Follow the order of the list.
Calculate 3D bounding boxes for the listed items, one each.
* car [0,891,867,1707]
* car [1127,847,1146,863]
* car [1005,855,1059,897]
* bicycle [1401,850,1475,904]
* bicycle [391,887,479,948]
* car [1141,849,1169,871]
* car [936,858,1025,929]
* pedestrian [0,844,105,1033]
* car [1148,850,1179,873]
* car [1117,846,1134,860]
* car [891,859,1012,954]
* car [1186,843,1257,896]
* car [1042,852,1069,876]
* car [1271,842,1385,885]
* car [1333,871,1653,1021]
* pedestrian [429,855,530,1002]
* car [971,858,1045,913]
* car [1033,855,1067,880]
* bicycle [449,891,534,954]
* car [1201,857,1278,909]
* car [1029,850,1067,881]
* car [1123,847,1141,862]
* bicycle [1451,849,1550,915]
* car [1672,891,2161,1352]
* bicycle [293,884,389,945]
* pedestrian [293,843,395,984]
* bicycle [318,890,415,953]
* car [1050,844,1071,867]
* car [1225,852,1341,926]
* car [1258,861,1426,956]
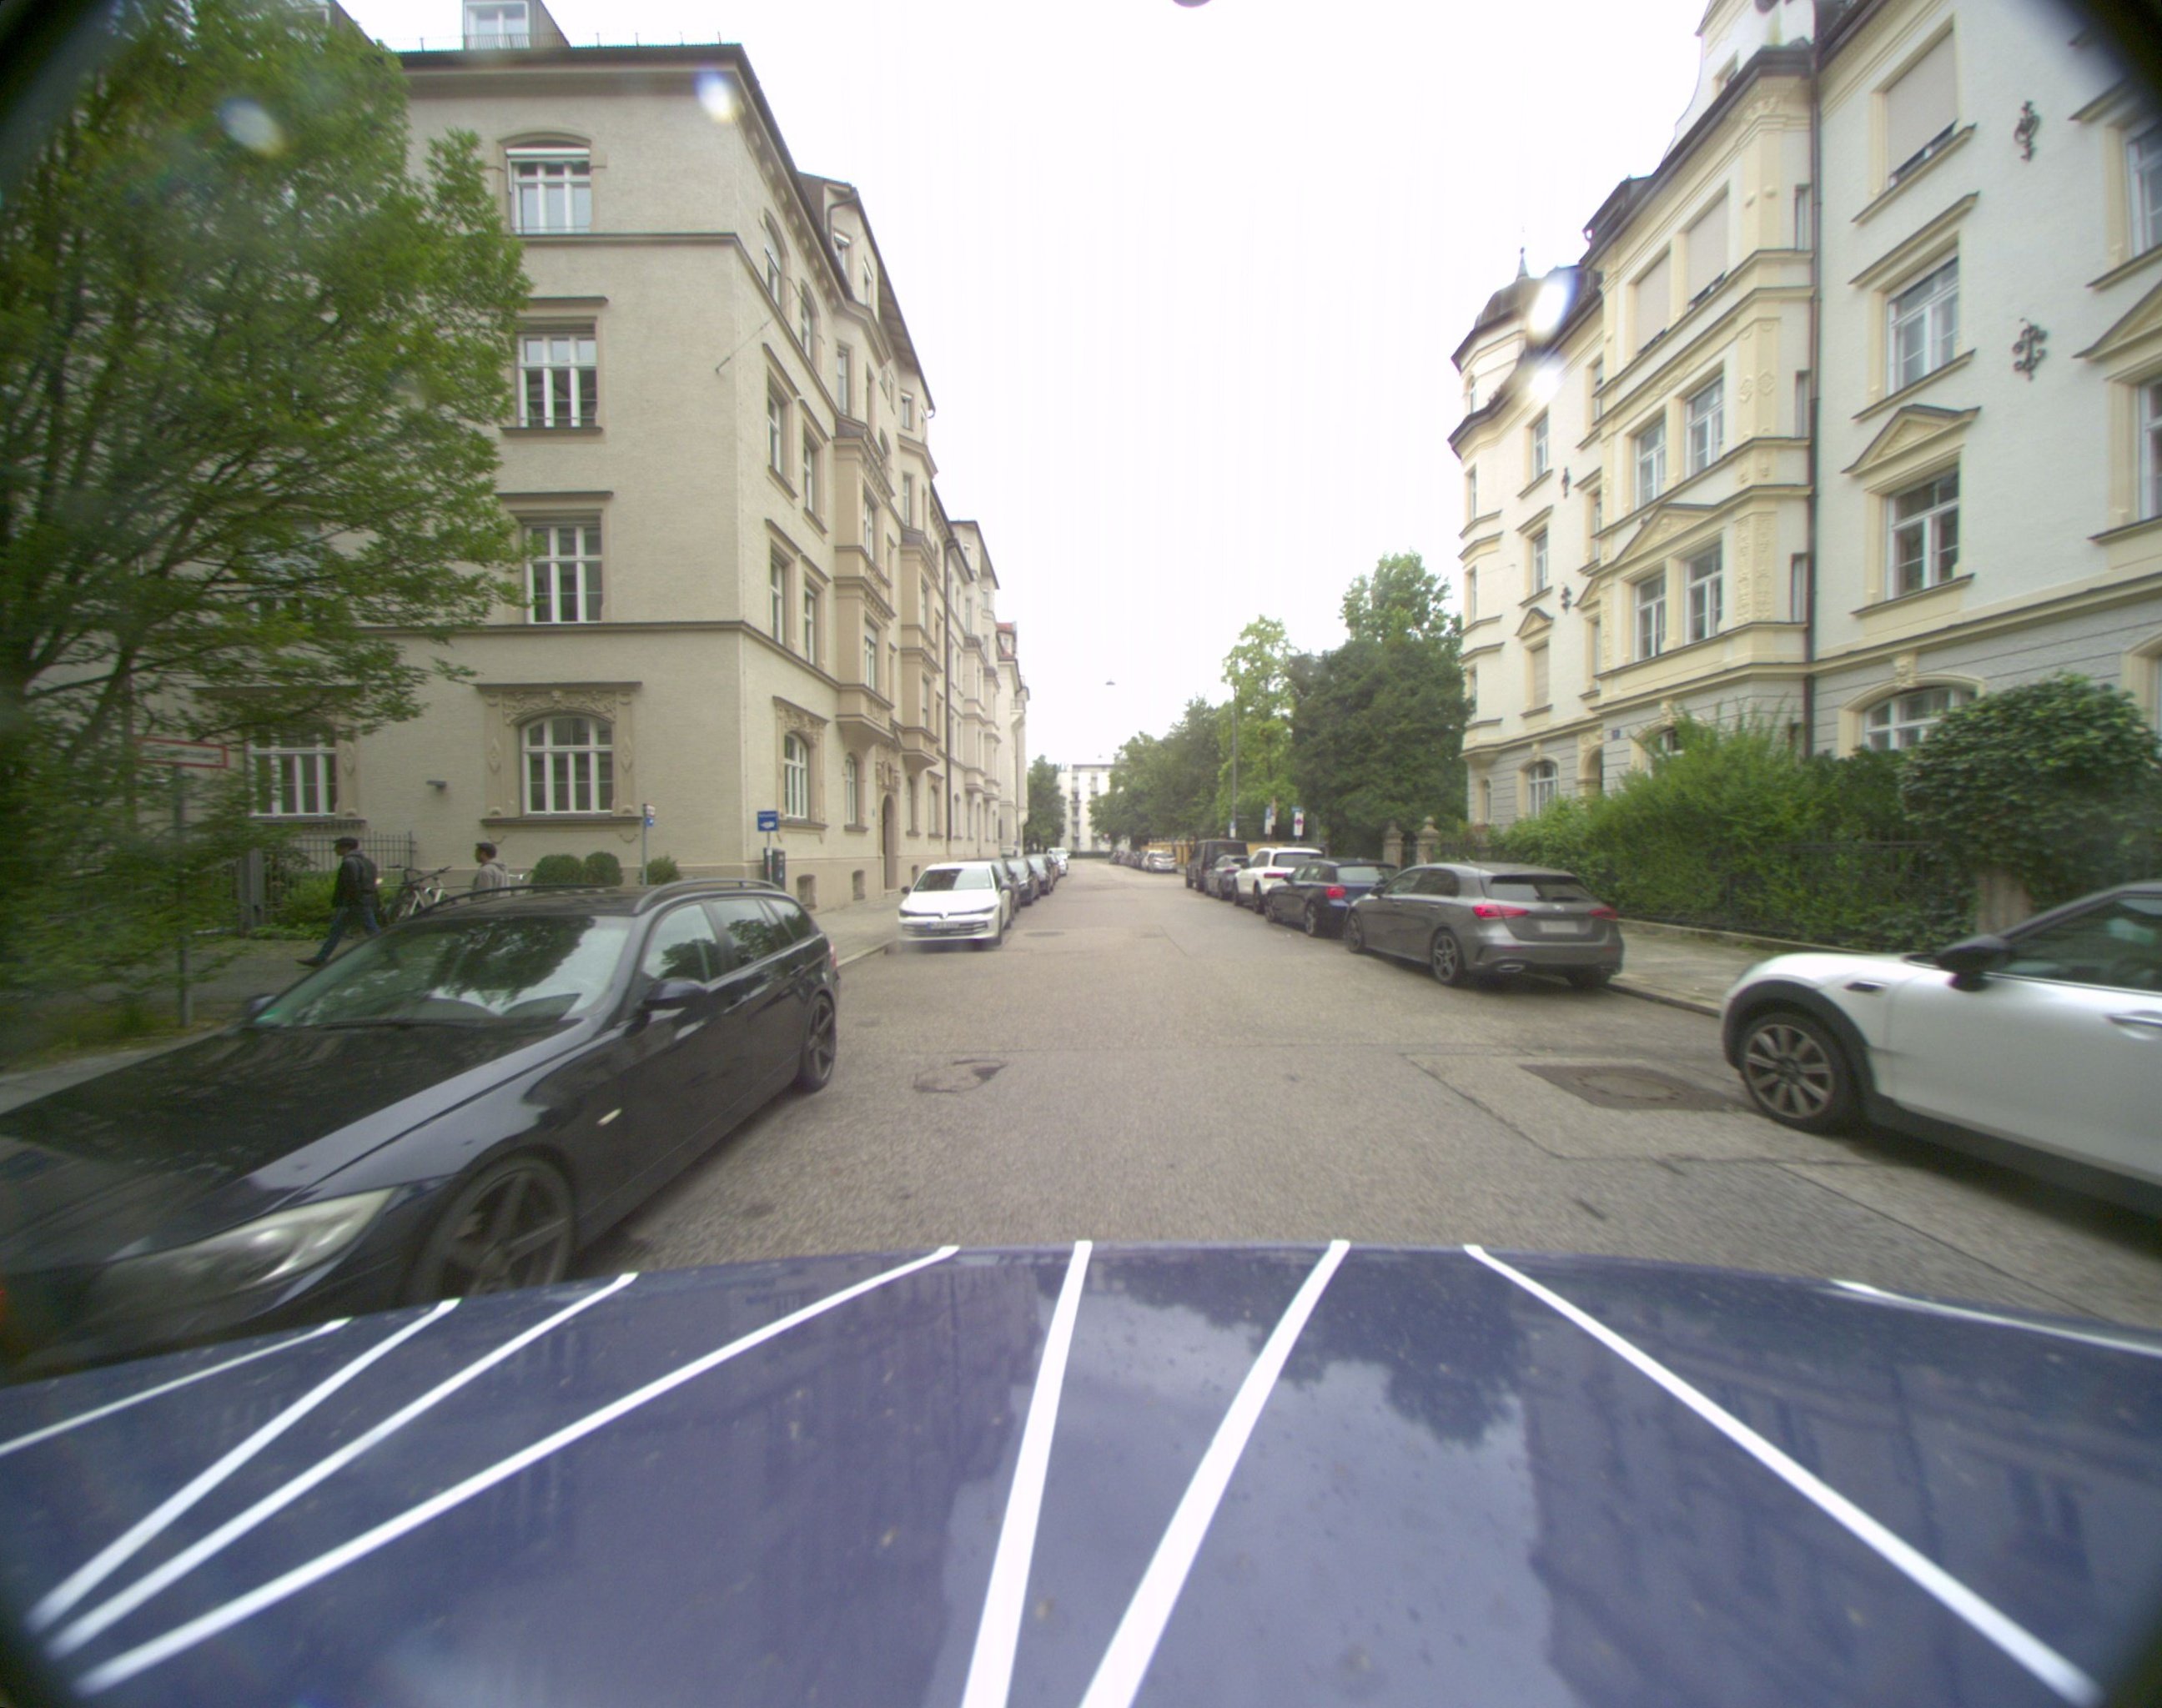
[{"bbox_3d":[-2.530,1.030,3.631,1.715,1.443,4.224,-1,0,1],"label":"car"},{"bbox_3d":[5.629,0.109,77.276,1.653,1.552,3.929,1,1,-1],"label":"car"},{"bbox_3d":[-1.816,0.792,29.261,1.645,1.409,4.000,-2,1,2],"label":"car"},{"bbox_3d":[8.871,0.527,19.001,0.698,1.253,2.530,1,1,2],"label":"bicycle"},{"bbox_3d":[-10.756,1.038,12.685,0.453,0.903,1.130,0,2,3],"label":"bicycle"},{"bbox_3d":[5.577,0.428,57.842,1.705,1.552,3.929,1,1,-1],"label":"car"},{"bbox_3d":[-2.449,0.919,19.392,1.796,1.489,4.081,-3,0,-2],"label":"car"},{"bbox_3d":[-10.438,0.792,7.420,0.884,1.759,0.672,-1,1,0],"label":"pedestrian"},{"bbox_3d":[5.695,0.508,52.833,1.705,1.484,3.955,1,1,-1],"label":"car"},{"bbox_3d":[5.079,-0.137,86.331,1.653,1.552,3.929,1,1,-1],"label":"car"},{"bbox_3d":[-2.314,0.876,14.526,1.667,1.499,4.064,-1,0,-1],"label":"car"},{"bbox_3d":[5.361,0.529,29.638,1.917,1.876,4.816,0,1,1],"label":"car"},{"bbox_3d":[-1.671,0.624,50.173,1.715,1.462,4.084,-2,1,-2],"label":"car"},{"bbox_3d":[11.177,0.417,34.578,4.520,1.847,2.053,0,1,-6],"label":"car"},{"bbox_3d":[4.881,0.986,9.815,1.739,1.357,4.191,1,1,-2],"label":"car"},{"bbox_3d":[-7.207,0.862,9.152,0.855,1.647,0.865,1,-2,-33],"label":"pedestrian"},{"bbox_3d":[-2.216,0.918,24.035,1.746,1.390,4.021,-3,2,2],"label":"car"},{"bbox_3d":[-1.824,0.776,45.775,1.715,1.382,4.000,-2,1,1],"label":"car"},{"bbox_3d":[-9.641,1.096,12.460,0.453,0.903,1.130,0,2,3],"label":"bicycle"},{"bbox_3d":[5.099,0.880,24.915,1.647,1.422,3.918,2,1,0],"label":"car"},{"bbox_3d":[-1.747,0.581,41.073,1.747,1.507,3.957,-1,1,1],"label":"car"},{"bbox_3d":[5.478,0.040,81.872,1.653,1.552,3.929,1,1,-1],"label":"car"},{"bbox_3d":[8.948,0.547,16.354,0.757,1.289,2.530,1,1,2],"label":"bicycle"},{"bbox_3d":[4.648,1.001,2.795,1.801,1.426,4.079,-1,1,1],"label":"car"},{"bbox_3d":[-12.380,0.993,12.749,0.453,0.903,1.130,0,2,3],"label":"bicycle"},{"bbox_3d":[-9.560,0.747,9.876,0.629,1.759,0.673,-1,1,8],"label":"pedestrian"},{"bbox_3d":[-11.651,1.077,12.426,0.453,0.903,1.130,0,2,3],"label":"bicycle"},{"bbox_3d":[-1.837,0.109,68.783,1.794,1.926,4.084,-2,1,-2],"label":"car"},{"bbox_3d":[5.090,0.805,19.789,1.810,1.639,4.484,1,1,0],"label":"car"},{"bbox_3d":[4.786,0.923,14.583,1.773,1.412,3.998,0,2,-1],"label":"car"}]
